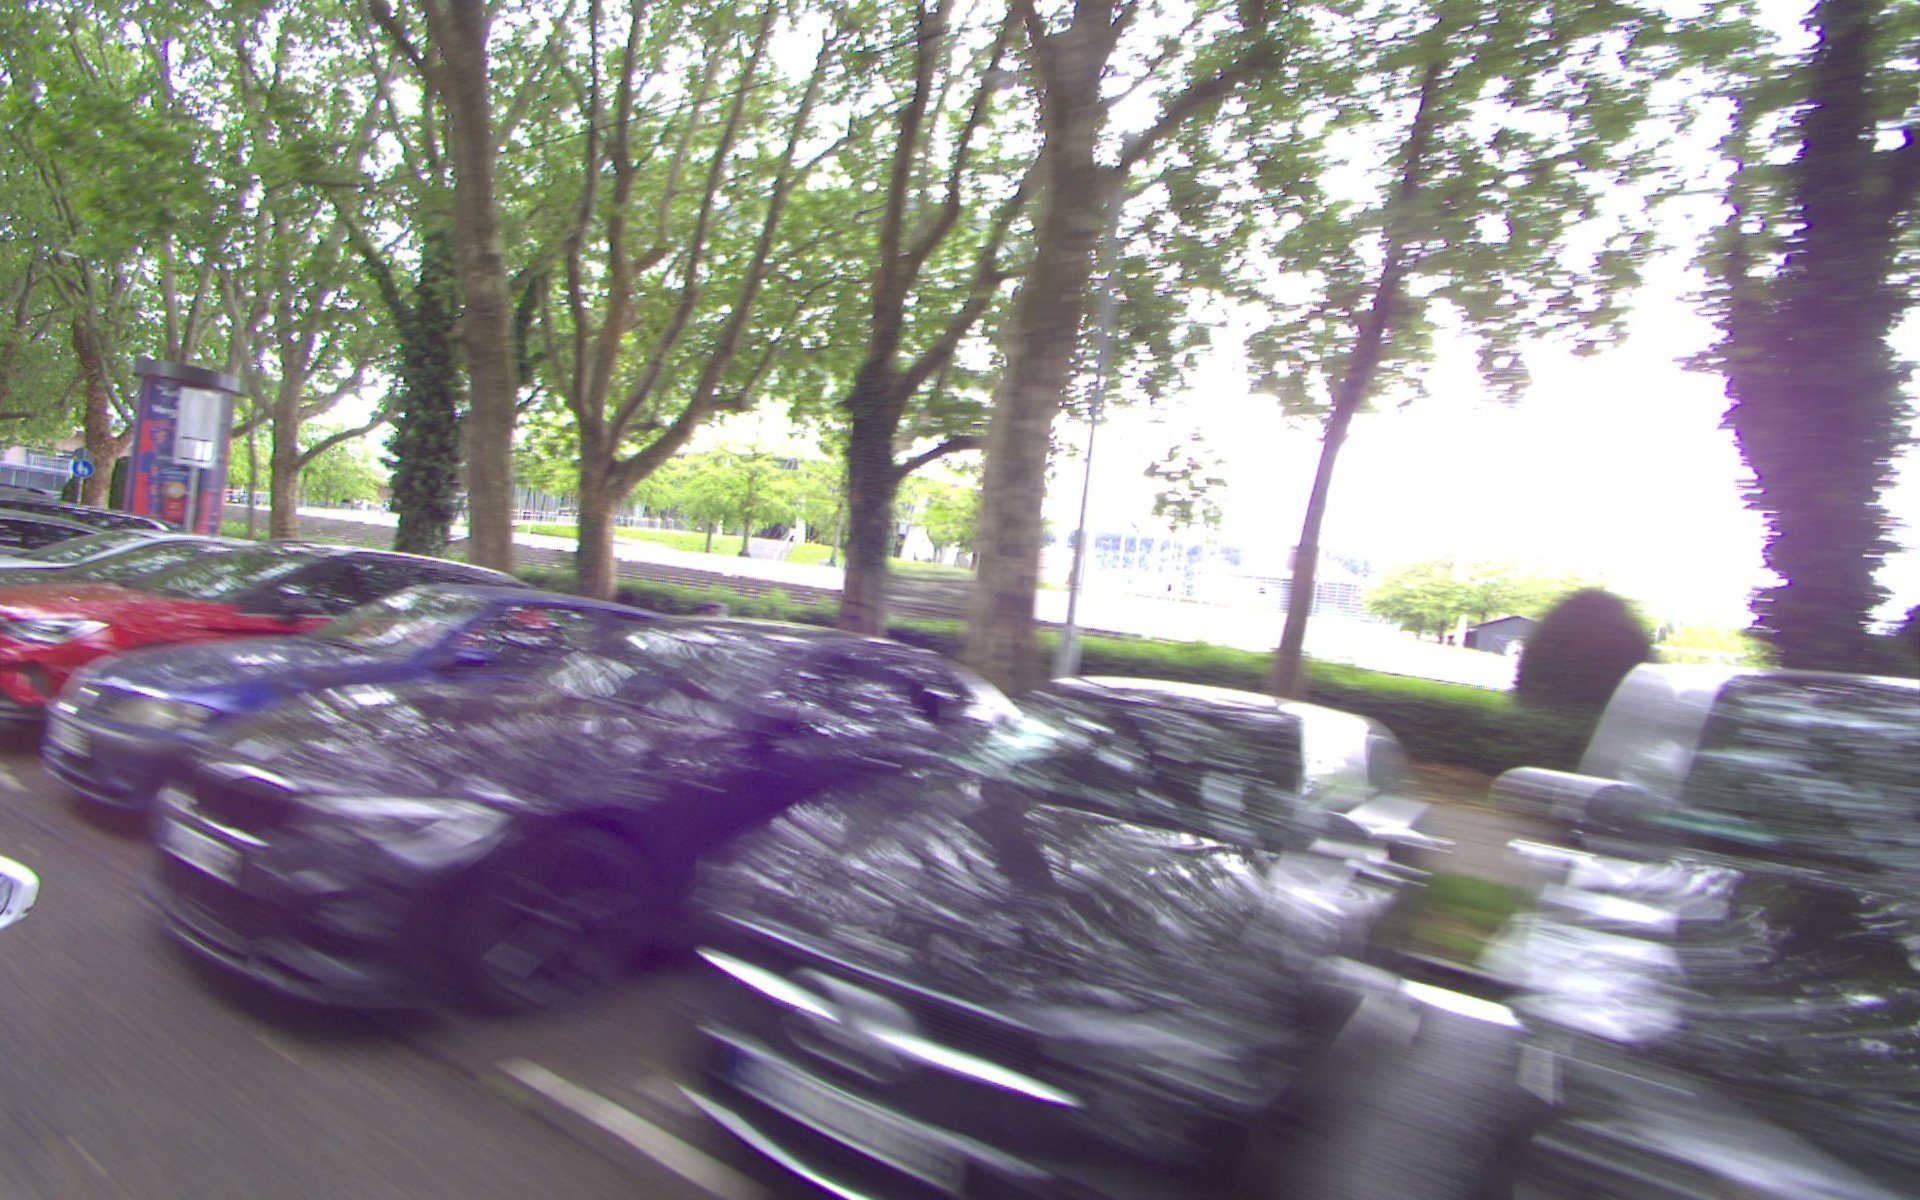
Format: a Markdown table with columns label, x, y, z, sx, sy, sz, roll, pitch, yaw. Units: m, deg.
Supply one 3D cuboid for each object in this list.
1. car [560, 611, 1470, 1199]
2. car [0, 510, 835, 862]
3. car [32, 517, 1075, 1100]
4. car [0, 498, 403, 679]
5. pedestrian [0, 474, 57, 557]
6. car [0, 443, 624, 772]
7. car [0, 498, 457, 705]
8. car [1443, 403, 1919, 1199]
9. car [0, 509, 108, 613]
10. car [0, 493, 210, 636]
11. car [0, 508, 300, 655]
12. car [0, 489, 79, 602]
| label | x | y | z | sx | sy | sz | roll | pitch | yaw |
| --- | --- | --- | --- | --- | --- | --- | --- | --- | --- |
| car | 0.763 | 1.023 | 3.968 | 1.711 | 1.406 | 3.991 | 7 | -2 | 33 |
| car | -3.043 | 0.565 | 6.683 | 1.799 | 1.436 | 4.503 | 7 | -3 | 33 |
| car | -1.316 | 0.740 | 5.063 | 1.900 | 1.444 | 4.504 | 7 | -2 | 32 |
| car | -8.864 | -0.104 | 11.019 | 1.893 | 1.519 | 4.356 | 7 | -2 | 31 |
| pedestrian | -24.535 | -2.216 | 26.472 | 0.587 | 2.037 | 0.788 | 7 | -1 | 15 |
| car | -5.187 | 0.145 | 8.057 | 2.011 | 1.817 | 4.510 | 7 | -2 | 25 |
| car | -7.273 | 0.058 | 9.252 | 1.891 | 1.519 | 4.360 | 7 | -2 | 26 |
| car | 2.543 | 1.014 | 2.558 | 2.013 | 1.817 | 4.505 | 7 | -2 | 31 |
| car | -15.345 | -0.797 | 14.661 | 1.715 | 1.395 | 4.049 | 7 | -2 | 32 |
| car | -13.113 | -0.638 | 13.356 | 1.842 | 1.658 | 4.599 | 7 | -2 | 33 |
| car | -10.929 | -0.289 | 12.246 | 1.894 | 1.429 | 4.355 | 7 | -2 | 32 |
| car | -17.261 | -1.167 | 16.036 | 1.806 | 1.765 | 4.357 | 7 | -2 | 30 |
